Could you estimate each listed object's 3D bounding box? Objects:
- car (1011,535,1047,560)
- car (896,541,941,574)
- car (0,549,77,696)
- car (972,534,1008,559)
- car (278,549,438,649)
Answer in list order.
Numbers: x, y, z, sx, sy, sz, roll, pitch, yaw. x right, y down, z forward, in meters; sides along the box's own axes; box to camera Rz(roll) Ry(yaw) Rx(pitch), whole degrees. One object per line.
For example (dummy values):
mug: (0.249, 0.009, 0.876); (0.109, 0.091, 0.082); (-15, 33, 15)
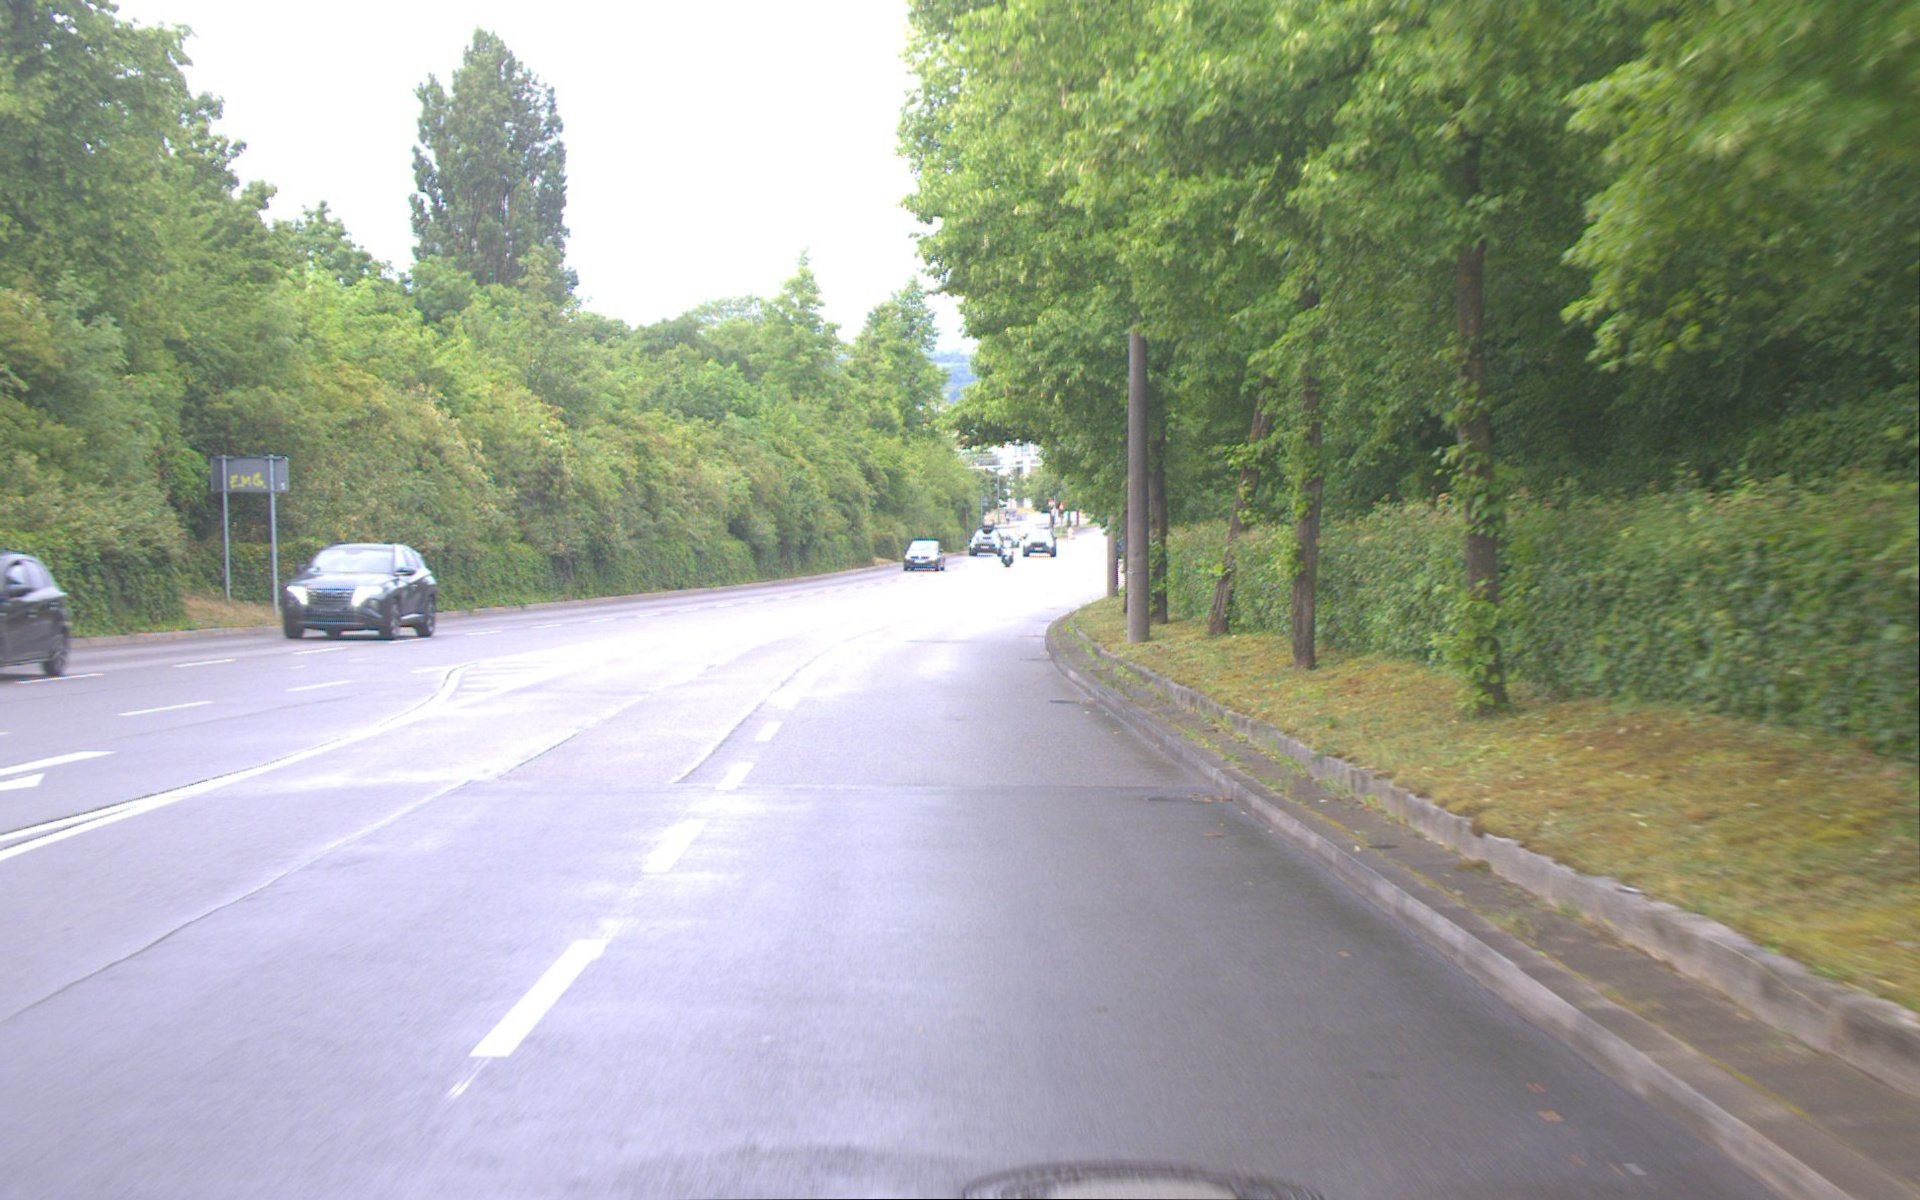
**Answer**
car: (4.248, -3.212, 210.268); (1.865, 1.459, 3.892); (2, 1, 5)
car: (-1.939, -2.020, 161.915); (1.864, 1.459, 3.892); (2, 1, 2)
car: (-11.345, 0.213, 38.802); (1.725, 1.560, 3.893); (2, 1, 0)
car: (1.832, -3.241, 208.549); (1.865, 1.459, 3.892); (2, 1, 5)
car: (-10.234, -0.045, 58.727); (1.864, 1.584, 3.892); (2, 1, 2)
